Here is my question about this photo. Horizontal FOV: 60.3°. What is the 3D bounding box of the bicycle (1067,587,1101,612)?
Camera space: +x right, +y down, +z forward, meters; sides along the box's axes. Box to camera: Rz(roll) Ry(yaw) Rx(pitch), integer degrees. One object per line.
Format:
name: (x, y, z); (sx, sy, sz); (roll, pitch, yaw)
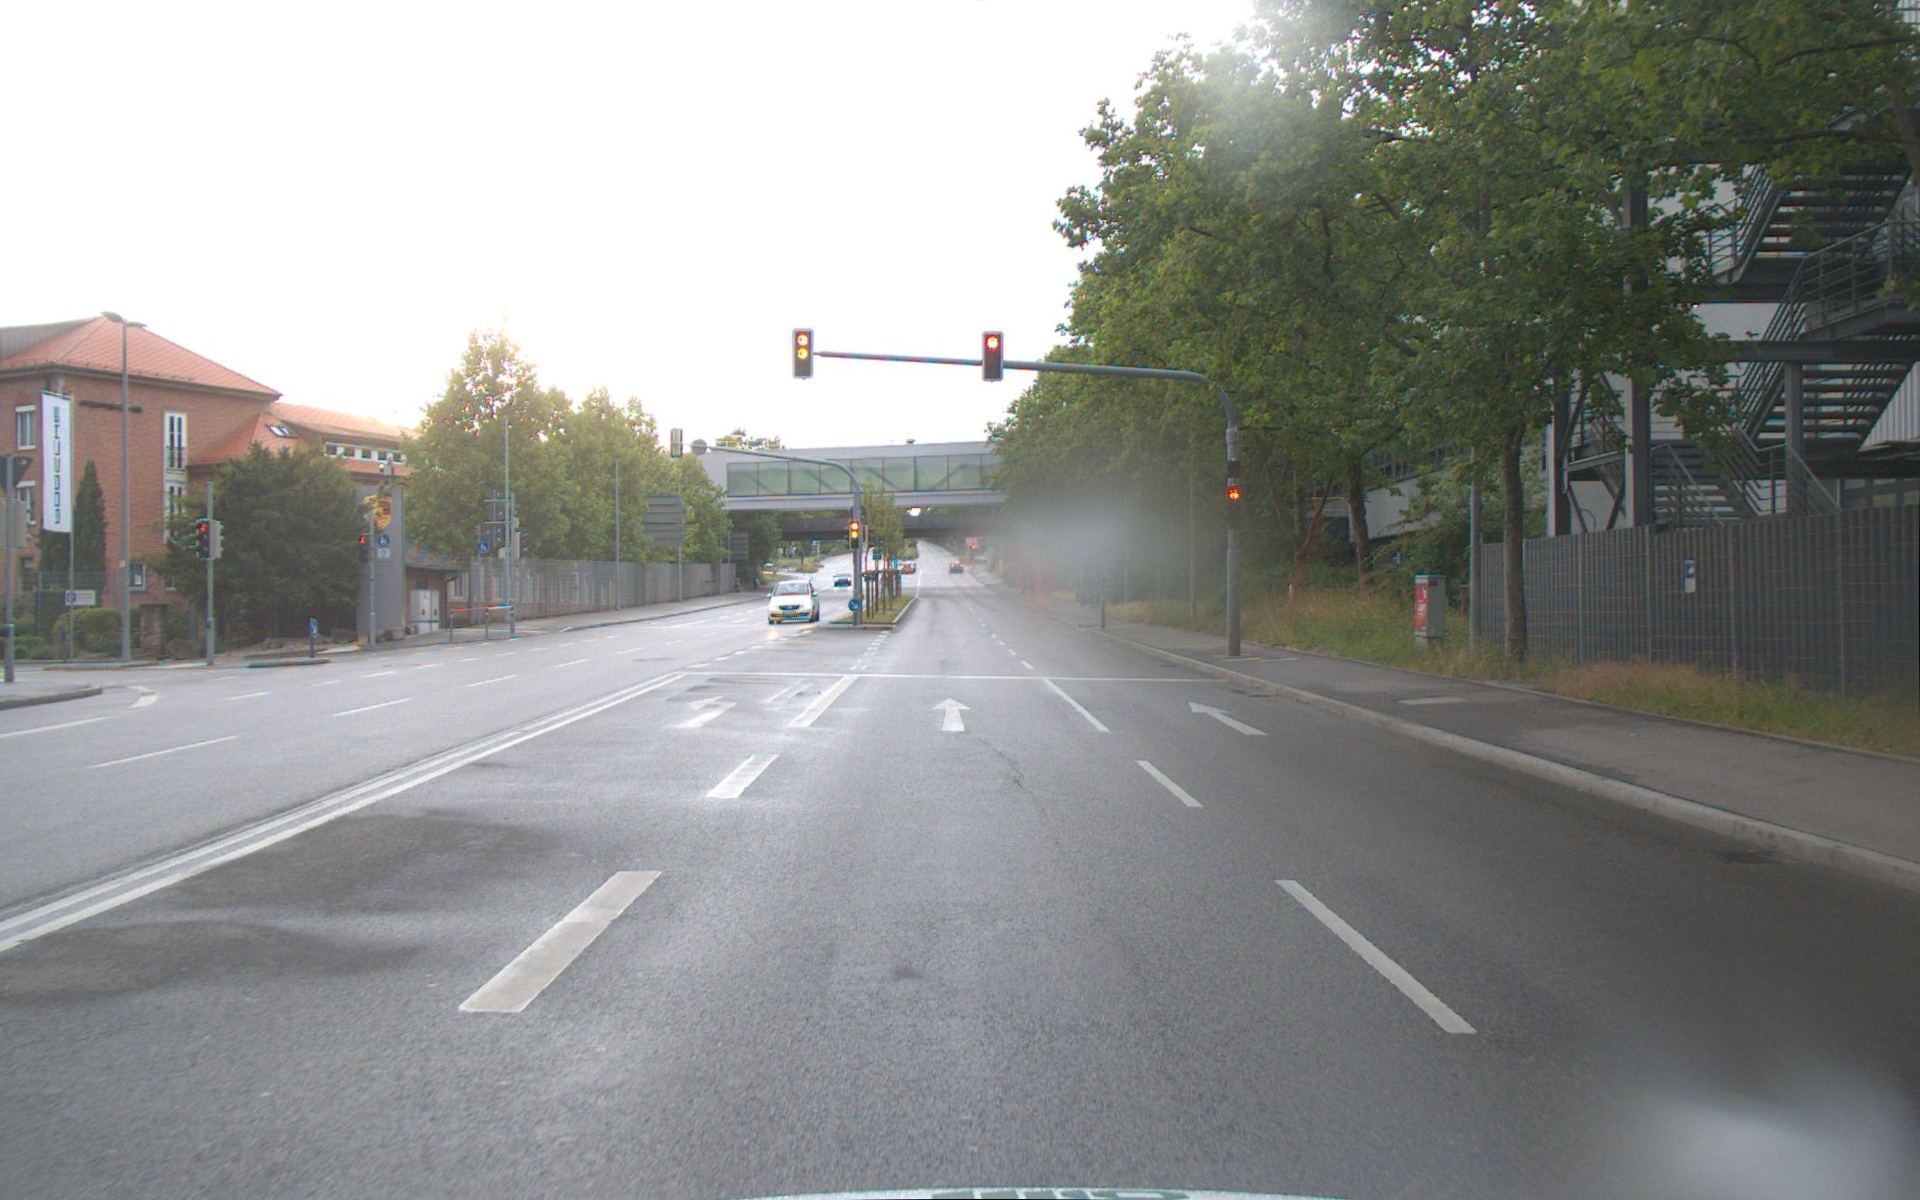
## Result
bicycle: (7.070, -0.014, 94.365); (1.920, 1.352, 0.576); (2, -1, 0)

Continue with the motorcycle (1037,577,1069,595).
motorcycle: (6.892, -1.039, 122.211); (2.318, 1.223, 0.723); (-1, 0, 7)

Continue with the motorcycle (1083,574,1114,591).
motorcycle: (10.486, -1.289, 125.381); (2.318, 1.223, 0.723); (-1, 0, 7)

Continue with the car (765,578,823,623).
car: (-6.375, 0.011, 63.858); (1.839, 1.653, 3.778); (-1, 0, 0)

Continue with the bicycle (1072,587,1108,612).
bicycle: (7.261, -0.026, 92.418); (1.949, 1.352, 0.576); (2, -1, 0)

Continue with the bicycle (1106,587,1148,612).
bicycle: (7.913, -0.015, 78.434); (1.949, 1.114, 0.541); (2, -1, 0)

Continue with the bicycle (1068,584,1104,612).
bicycle: (6.970, -0.095, 91.563); (1.949, 1.455, 0.723); (2, -1, 0)

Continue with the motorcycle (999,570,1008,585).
motorcycle: (4.457, -2.289, 168.772); (0.774, 1.560, 2.376); (-1, 0, -2)

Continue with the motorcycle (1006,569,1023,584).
motorcycle: (4.908, -2.142, 149.483); (0.778, 1.334, 2.364); (-2, 0, -18)

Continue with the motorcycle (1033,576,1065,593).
motorcycle: (6.741, -1.158, 125.548); (2.318, 1.223, 0.723); (-1, 0, 7)

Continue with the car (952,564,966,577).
car: (-0.186, -4.031, 226.928); (1.837, 1.523, 4.068); (2, -1, 0)

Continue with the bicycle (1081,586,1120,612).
bicycle: (7.205, -0.053, 84.849); (1.949, 1.263, 0.541); (2, -1, 0)

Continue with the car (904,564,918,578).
car: (-6.992, -4.096, 236.196); (1.846, 1.792, 3.968); (2, -1, 0)

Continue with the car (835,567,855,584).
car: (-12.263, -2.597, 175.882); (1.839, 1.653, 3.778); (-1, 0, 0)

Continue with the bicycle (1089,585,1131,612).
bicycle: (7.239, -0.084, 79.891); (1.949, 1.237, 0.541); (2, -1, 0)

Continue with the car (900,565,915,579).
car: (-7.308, -3.937, 230.700); (1.953, 1.792, 4.000); (2, -1, 0)

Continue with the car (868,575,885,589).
car: (-9.915, -2.182, 197.181); (1.839, 1.653, 3.778); (-1, 0, 0)

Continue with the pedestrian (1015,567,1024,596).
pedestrian: (4.349, -1.352, 120.497); (0.609, 2.049, 0.605); (-1, 0, 0)

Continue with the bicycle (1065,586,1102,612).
bicycle: (6.710, -0.054, 89.885); (1.949, 1.352, 0.576); (2, -1, 0)

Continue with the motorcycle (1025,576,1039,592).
motorcycle: (6.255, -1.365, 144.435); (0.775, 1.334, 2.372); (-1, 0, -8)

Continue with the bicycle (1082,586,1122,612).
bicycle: (7.198, -0.061, 83.985); (1.949, 1.263, 0.541); (2, -1, 0)

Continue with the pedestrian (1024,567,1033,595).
pedestrian: (5.000, -1.389, 120.333); (0.609, 2.049, 0.605); (-1, 0, 0)
